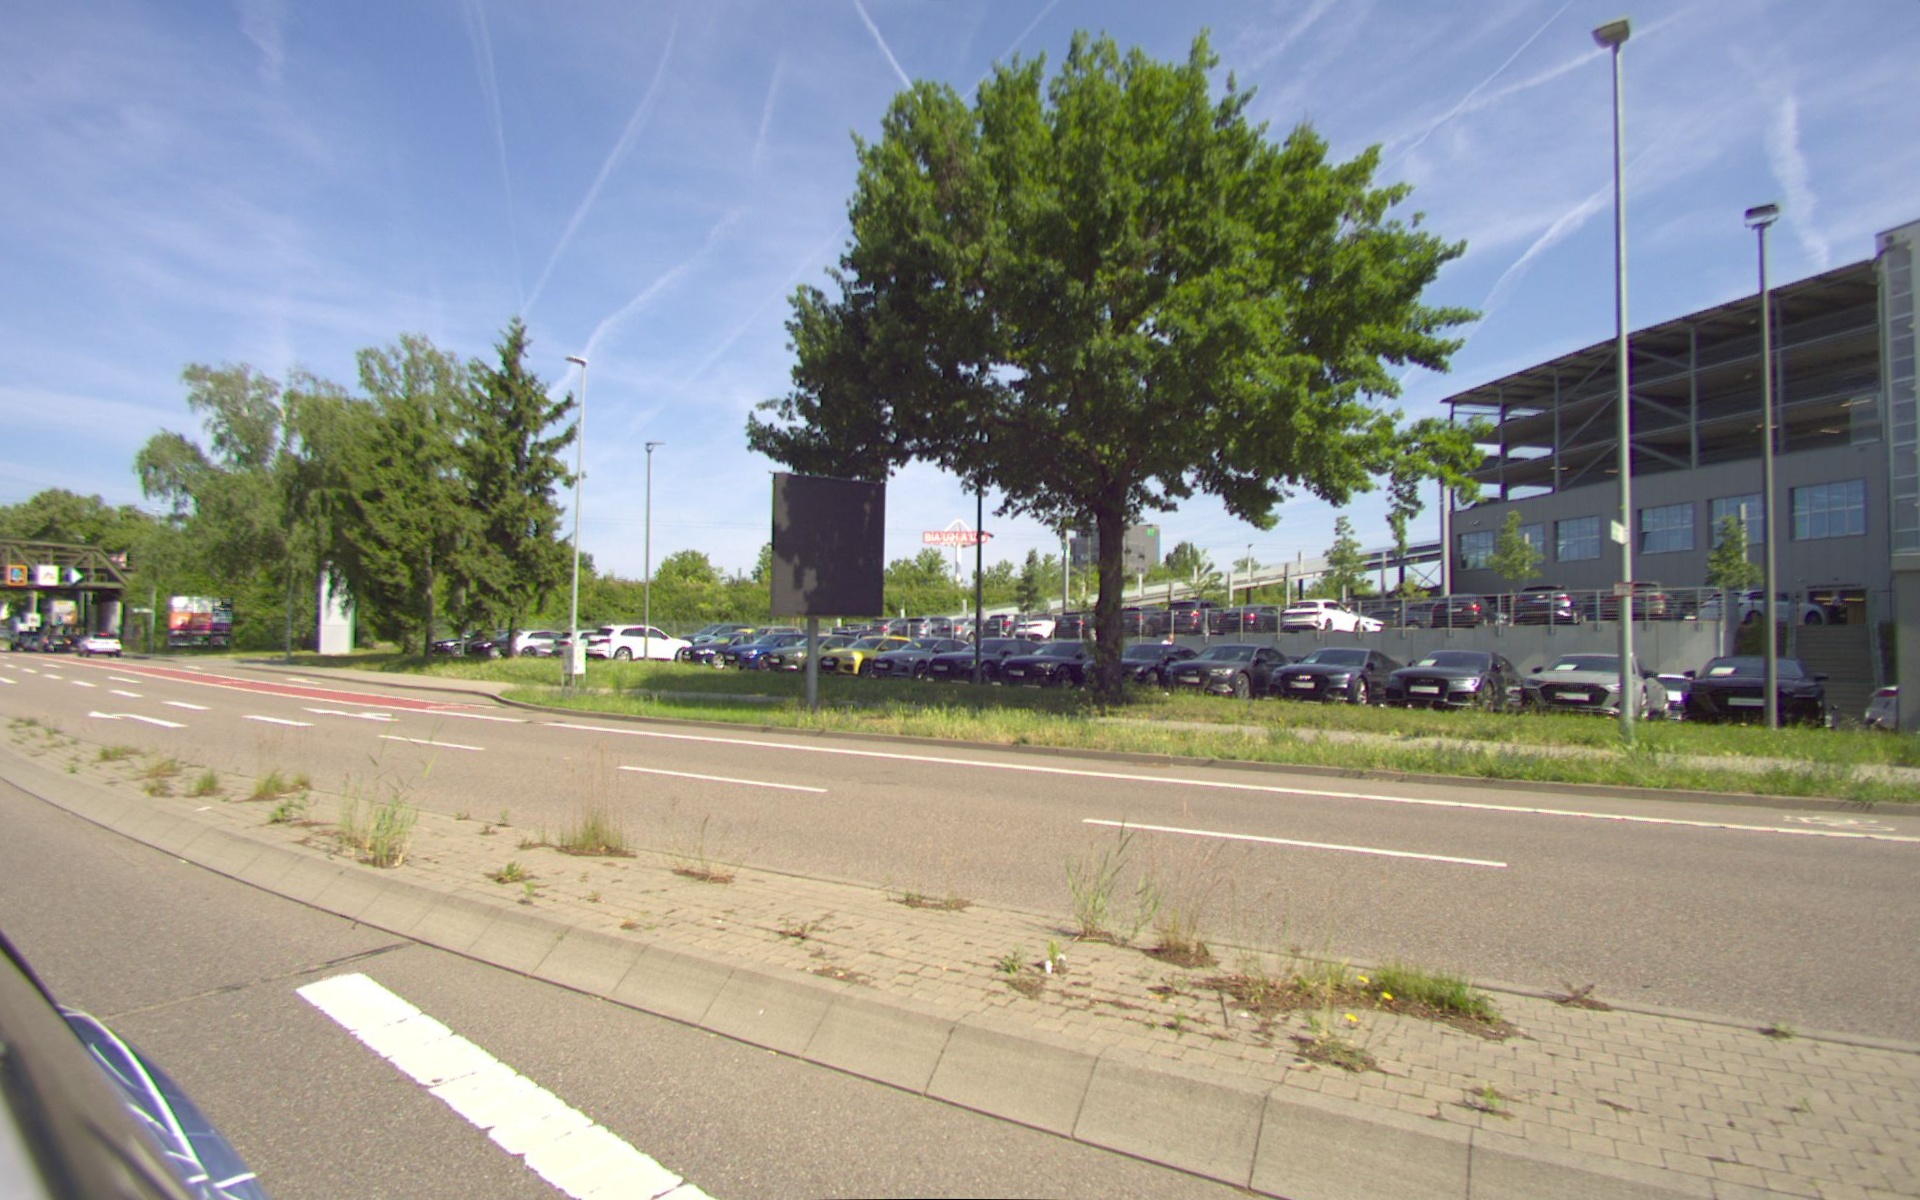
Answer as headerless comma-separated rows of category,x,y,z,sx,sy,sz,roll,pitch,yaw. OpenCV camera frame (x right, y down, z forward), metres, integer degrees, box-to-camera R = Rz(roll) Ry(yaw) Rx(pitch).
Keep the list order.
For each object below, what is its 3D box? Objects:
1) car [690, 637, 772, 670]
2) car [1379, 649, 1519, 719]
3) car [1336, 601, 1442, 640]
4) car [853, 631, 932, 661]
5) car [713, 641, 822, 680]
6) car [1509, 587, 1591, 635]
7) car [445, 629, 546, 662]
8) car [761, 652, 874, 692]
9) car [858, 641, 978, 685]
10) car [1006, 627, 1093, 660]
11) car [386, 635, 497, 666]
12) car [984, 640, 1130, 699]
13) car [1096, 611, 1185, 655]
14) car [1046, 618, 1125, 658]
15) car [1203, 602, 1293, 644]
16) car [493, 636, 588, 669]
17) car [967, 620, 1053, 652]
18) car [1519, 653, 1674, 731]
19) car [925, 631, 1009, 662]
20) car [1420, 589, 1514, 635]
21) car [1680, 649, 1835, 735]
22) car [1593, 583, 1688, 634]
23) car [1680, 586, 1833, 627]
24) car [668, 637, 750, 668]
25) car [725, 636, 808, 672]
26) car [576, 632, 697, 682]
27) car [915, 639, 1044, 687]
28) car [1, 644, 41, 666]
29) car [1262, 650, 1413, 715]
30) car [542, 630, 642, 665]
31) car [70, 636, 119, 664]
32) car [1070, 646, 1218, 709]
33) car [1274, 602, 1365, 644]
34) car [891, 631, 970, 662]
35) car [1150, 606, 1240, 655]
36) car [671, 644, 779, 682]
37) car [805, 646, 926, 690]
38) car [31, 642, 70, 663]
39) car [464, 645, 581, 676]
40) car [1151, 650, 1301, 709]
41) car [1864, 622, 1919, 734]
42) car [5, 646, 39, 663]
car,-12.446,2.890,55.151,1.999,1.634,3.945,-2,-2,42
car,10.440,1.708,21.457,1.690,1.300,4.455,-2,-3,39
car,18.486,0.895,43.672,3.786,1.586,1.930,-2,-2,41
car,-3.618,2.464,54.894,1.997,1.488,4.162,-2,-2,38
car,-6.930,2.210,36.677,1.743,1.295,3.558,-2,-5,39
car,19.899,0.384,34.072,1.667,1.507,3.945,-2,-2,41
car,-23.349,2.279,50.952,1.999,1.558,4.170,-2,-2,41
car,-4.869,2.509,35.019,1.661,1.295,3.705,-2,-5,39
car,-1.277,1.992,31.730,1.863,1.295,3.558,-2,-5,39
car,4.304,2.074,48.212,1.978,1.496,4.455,-2,-3,39
car,-26.195,2.528,51.257,1.999,1.400,4.638,-2,-2,41
car,2.799,1.908,28.373,1.978,1.487,4.455,-2,-3,39
car,7.996,1.477,44.576,1.978,1.829,4.455,-2,-4,39
car,5.801,1.766,46.418,1.663,1.718,4.226,-2,-4,39
car,11.799,0.978,41.300,1.978,1.563,4.455,-2,-3,39
car,-19.376,2.391,46.814,1.815,1.381,3.642,-2,-2,41
car,2.482,1.790,49.688,1.978,1.496,4.455,-2,-3,39
car,12.421,1.693,19.615,2.002,1.300,4.455,-2,-3,39
car,0.400,2.326,51.286,1.889,1.429,4.455,-2,-2,39
car,17.962,0.449,35.793,2.050,1.507,3.945,-2,-2,41
car,14.093,1.536,17.901,1.918,1.300,4.455,-2,-3,39
car,21.816,0.308,32.357,1.985,1.507,4.473,-2,-2,41
car,30.143,0.270,38.338,4.589,1.475,1.928,0,-2,-10
car,-13.975,2.913,56.542,1.803,1.576,4.200,-2,-2,39
car,-10.159,2.807,53.361,1.999,1.770,3.945,-2,-2,42
car,-13.372,2.304,42.018,2.000,1.889,4.415,-2,-2,42
car,0.636,1.887,29.927,1.983,1.295,3.643,-2,-5,39
car,-83.692,4.907,90.158,5.448,1.875,1.973,-2,-6,41
car,8.682,1.814,23.062,1.918,1.300,4.455,-2,-3,39
car,-16.875,2.167,46.504,1.848,1.497,3.941,-2,-2,45
car,-53.884,3.083,63.004,1.970,1.630,4.106,5,-5,-44
car,4.908,1.962,26.513,1.918,1.487,4.455,-2,-3,39
car,14.037,0.947,39.374,1.978,1.496,4.455,-2,-3,39
car,-1.512,2.419,53.163,1.997,1.488,4.162,-2,-2,38
car,9.985,1.337,42.824,1.978,1.977,4.455,-2,-4,39
car,-8.926,2.345,38.567,1.743,1.295,3.753,-2,-2,39
car,-3.077,2.285,33.595,1.838,1.351,3.848,-2,-5,39
car,-70.181,4.065,78.108,4.025,1.530,1.680,-2,-5,41
car,-20.917,2.851,48.510,1.999,1.278,4.801,-2,-2,41
car,6.613,1.890,24.849,1.918,1.300,4.455,-2,-3,39
car,17.912,1.327,16.983,3.998,1.891,1.973,-2,-4,41
car,-78.473,4.545,84.615,4.316,1.398,1.618,-2,-5,42
